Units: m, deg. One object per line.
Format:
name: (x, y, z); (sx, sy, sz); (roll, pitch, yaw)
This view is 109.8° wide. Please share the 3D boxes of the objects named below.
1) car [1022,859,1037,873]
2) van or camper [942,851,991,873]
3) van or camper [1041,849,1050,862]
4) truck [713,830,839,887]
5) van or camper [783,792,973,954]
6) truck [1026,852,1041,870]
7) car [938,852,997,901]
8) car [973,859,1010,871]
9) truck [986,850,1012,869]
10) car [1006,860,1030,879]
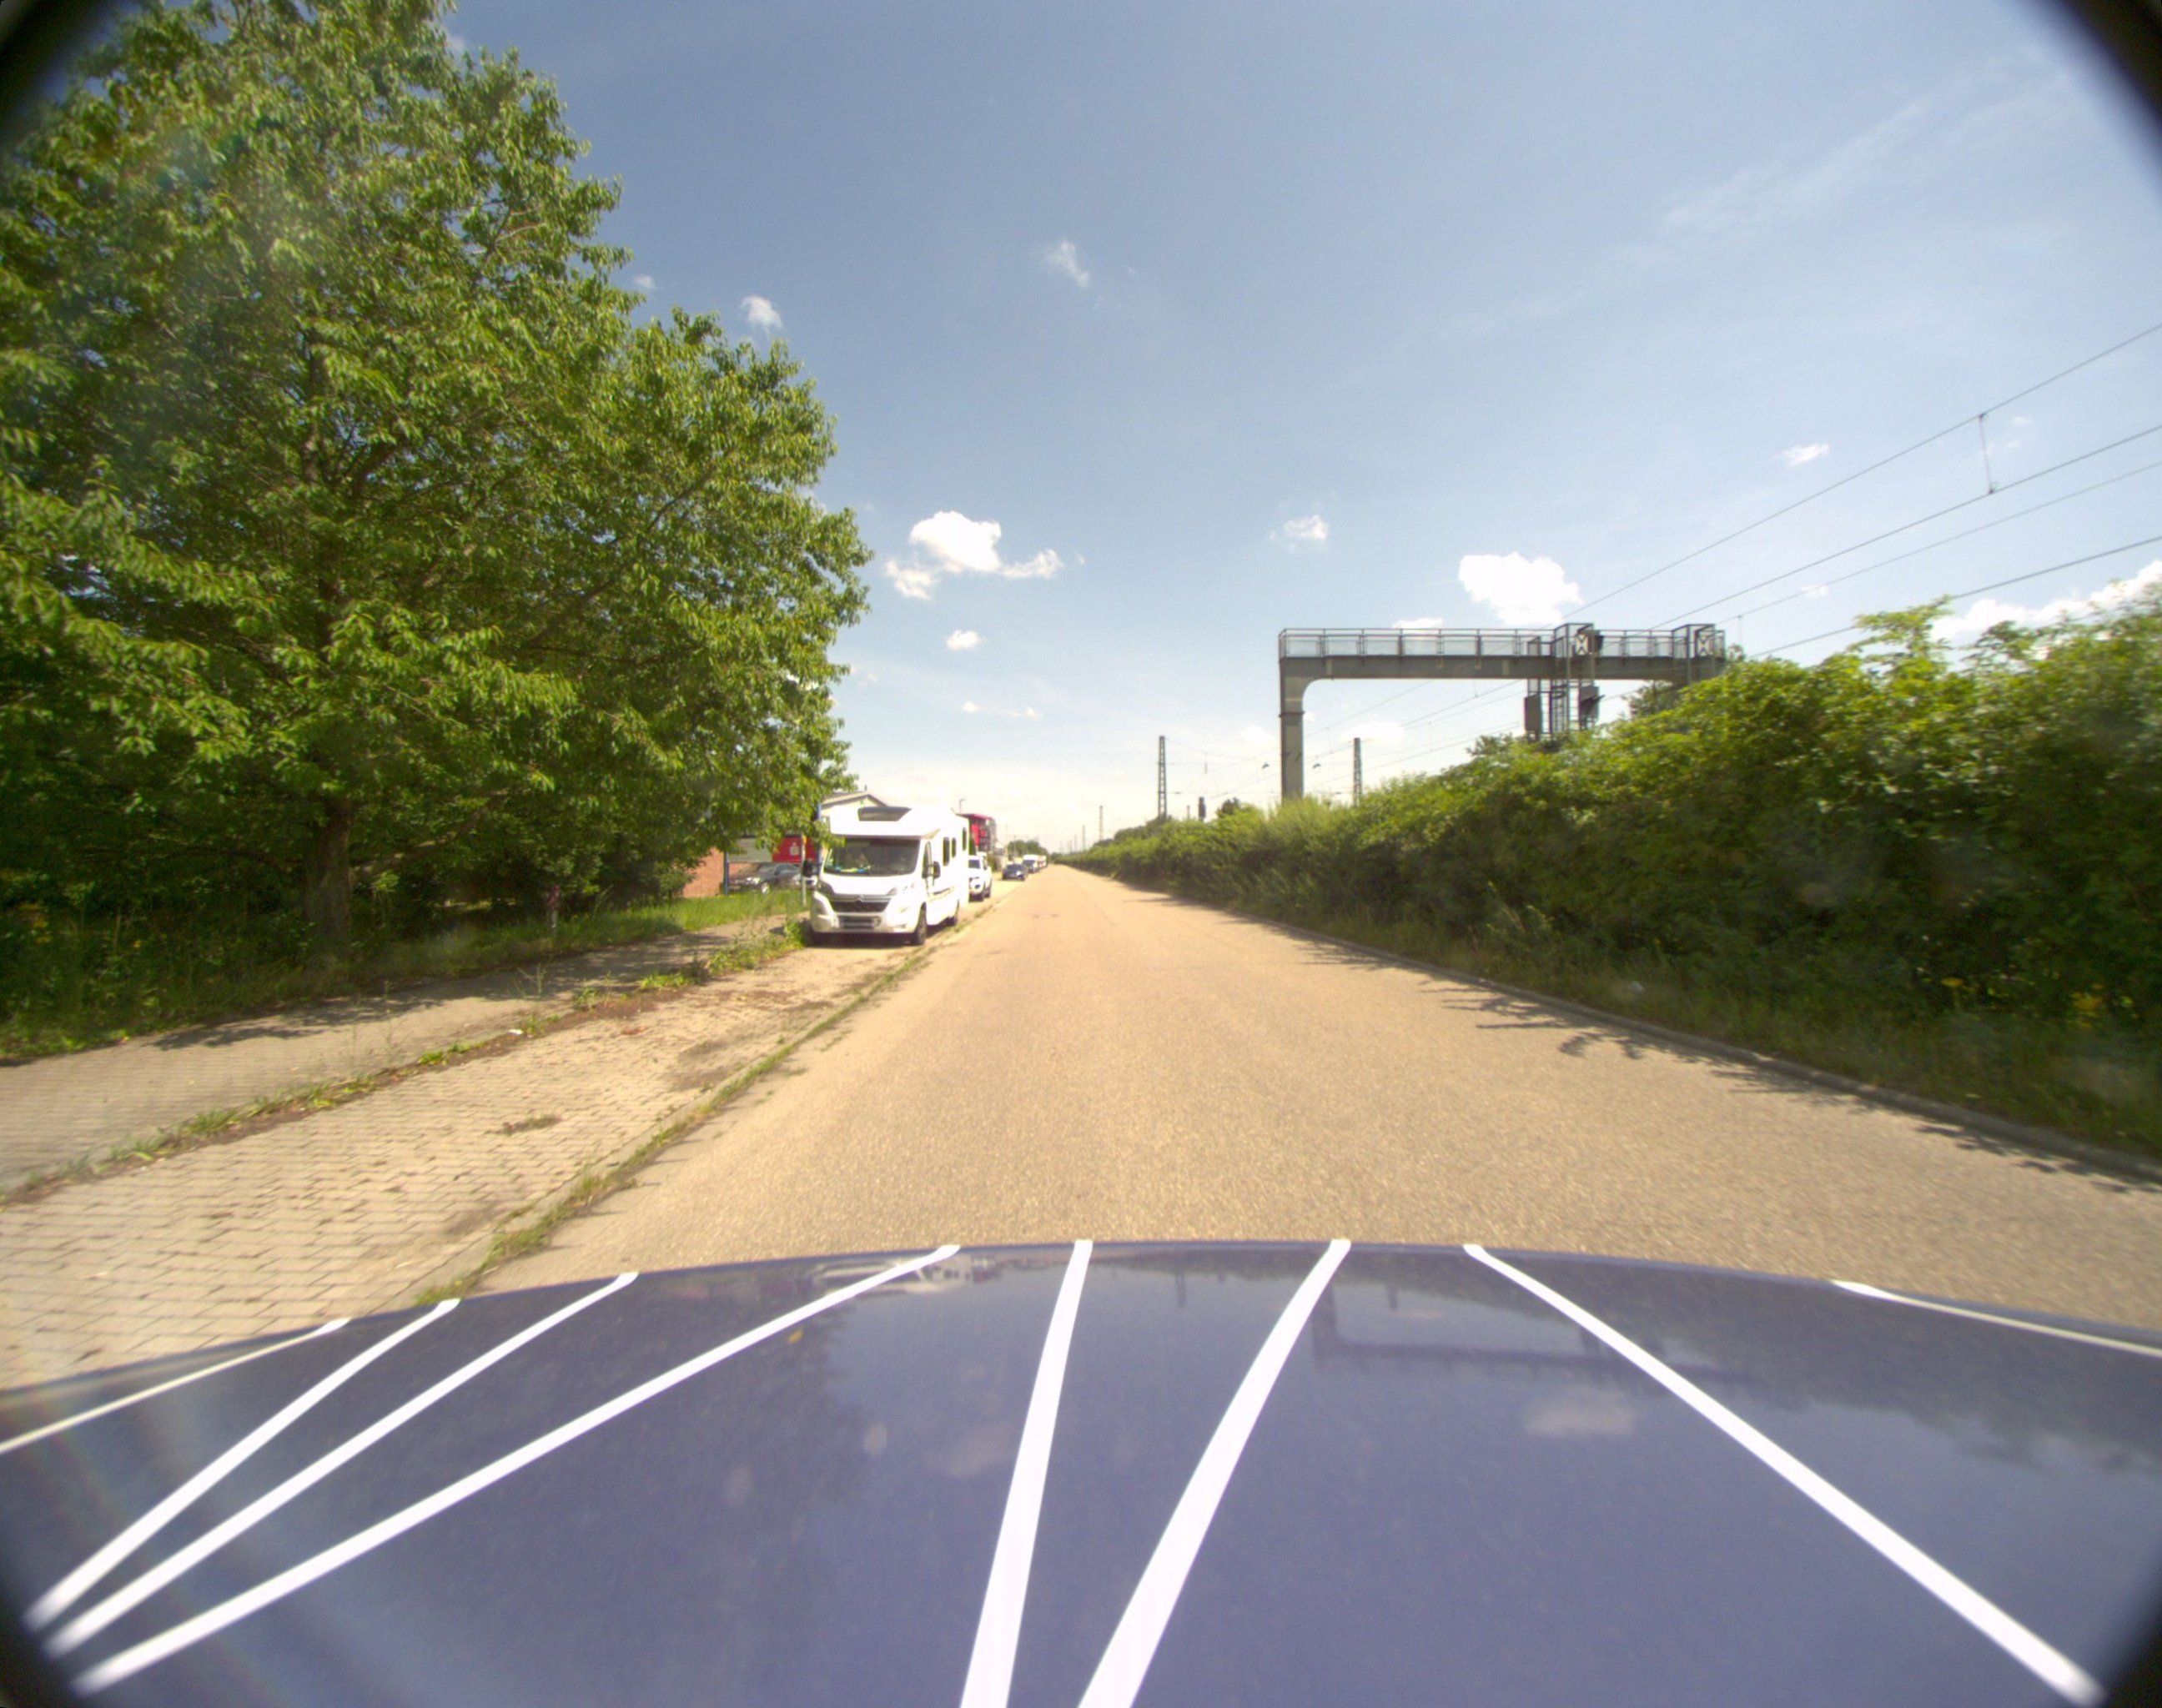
car: (-6.662, 1.569, 98.401); (1.806, 1.692, 3.999); (1, 0, -2)
van or camper: (-12.887, 0.907, 85.864); (5.099, 2.519, 2.002); (0, 0, 12)
van or camper: (-9.769, 0.275, 211.340); (2.334, 3.496, 4.769); (-2, 0, -2)
truck: (-18.710, 0.291, 46.828); (6.474, 3.368, 3.108); (0, 0, 7)
van or camper: (-4.114, 0.366, 17.199); (2.445, 2.810, 7.622); (1, 0, -2)
truck: (-6.904, 1.014, 111.521); (1.999, 2.550, 5.289); (0, 0, -1)
car: (-4.627, 0.880, 31.716); (1.852, 1.804, 5.424); (1, 0, -2)
car: (-11.460, 1.430, 97.367); (4.606, 1.478, 1.714); (0, 0, -1)
truck: (-11.745, 0.832, 109.501); (2.382, 2.672, 5.787); (0, 0, 7)
car: (-5.199, 1.252, 63.609); (1.766, 1.463, 4.717); (1, 0, -2)
